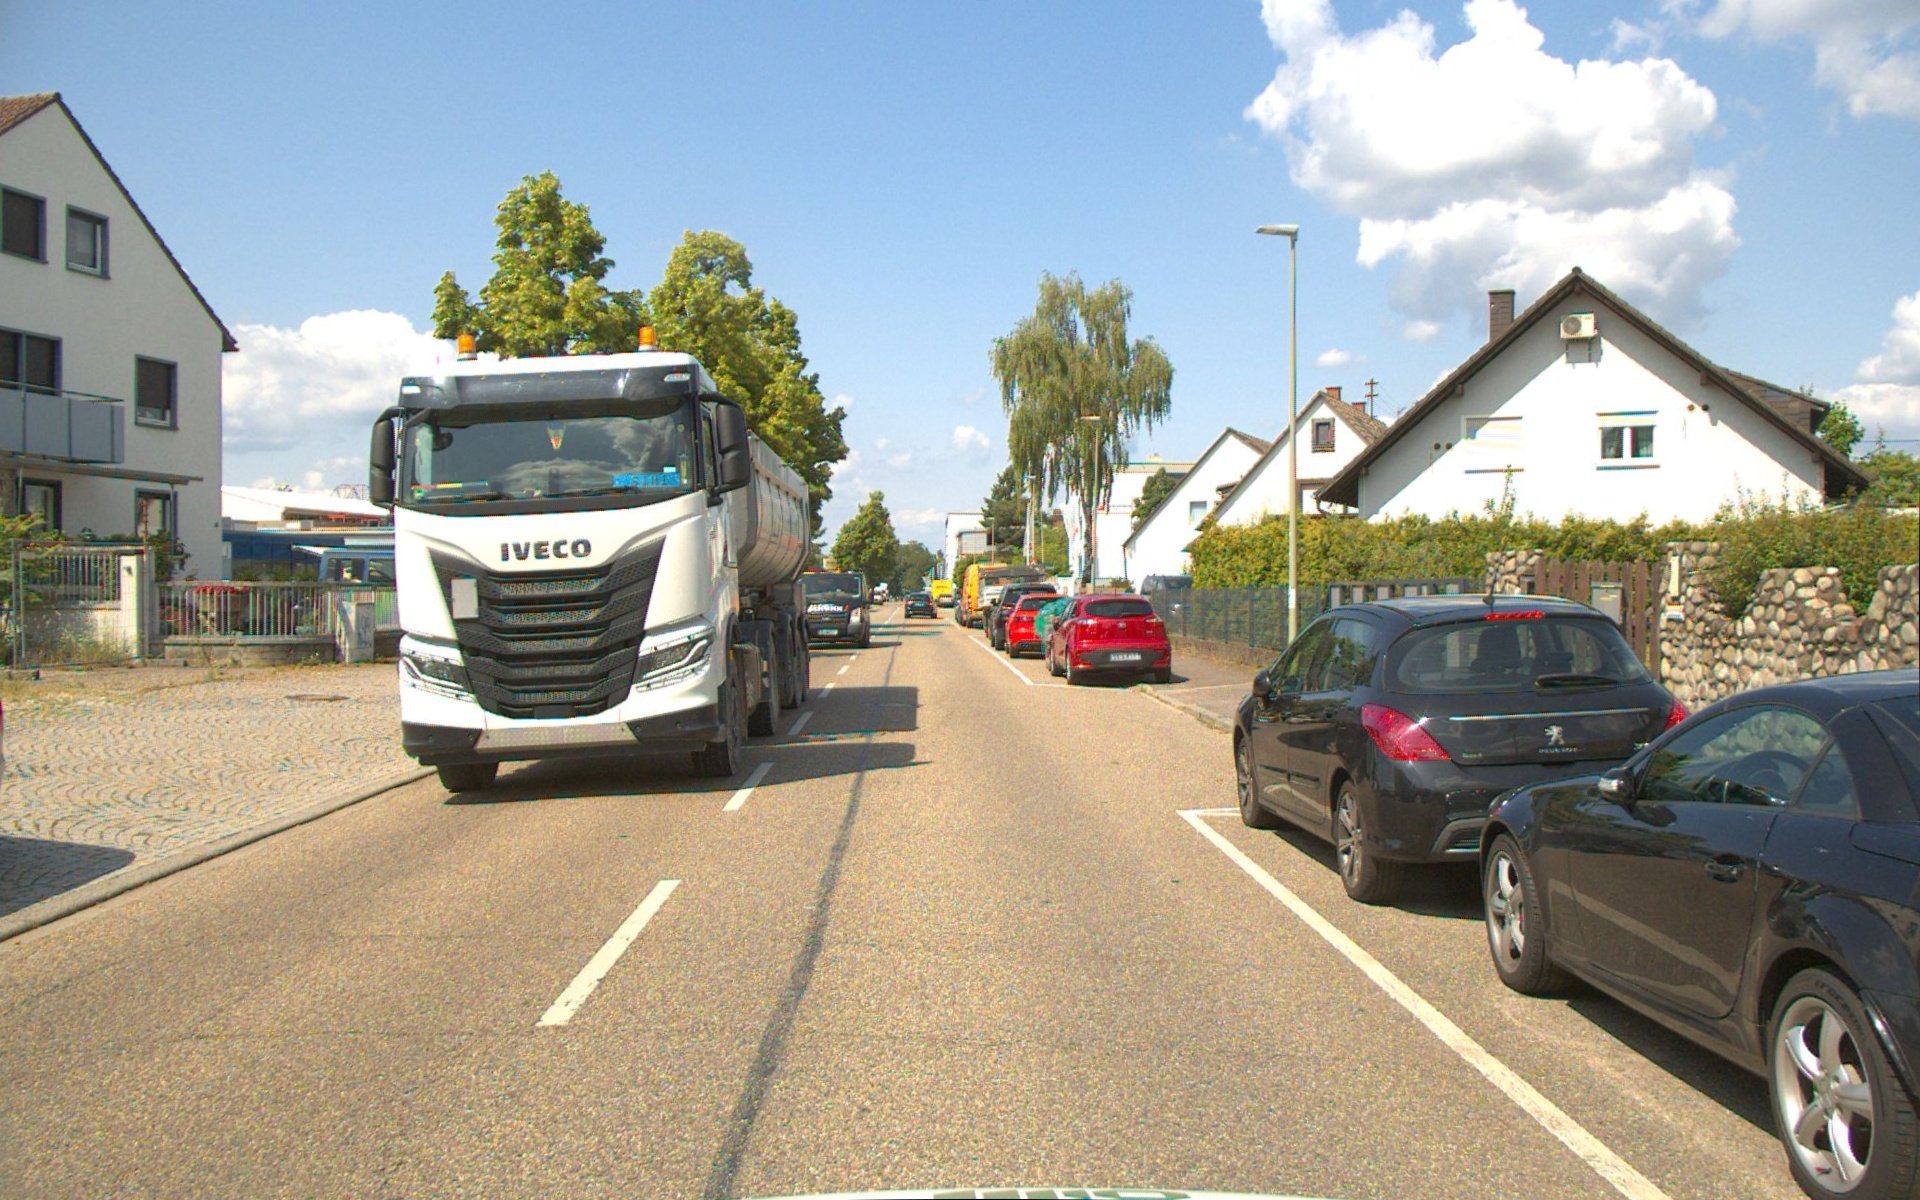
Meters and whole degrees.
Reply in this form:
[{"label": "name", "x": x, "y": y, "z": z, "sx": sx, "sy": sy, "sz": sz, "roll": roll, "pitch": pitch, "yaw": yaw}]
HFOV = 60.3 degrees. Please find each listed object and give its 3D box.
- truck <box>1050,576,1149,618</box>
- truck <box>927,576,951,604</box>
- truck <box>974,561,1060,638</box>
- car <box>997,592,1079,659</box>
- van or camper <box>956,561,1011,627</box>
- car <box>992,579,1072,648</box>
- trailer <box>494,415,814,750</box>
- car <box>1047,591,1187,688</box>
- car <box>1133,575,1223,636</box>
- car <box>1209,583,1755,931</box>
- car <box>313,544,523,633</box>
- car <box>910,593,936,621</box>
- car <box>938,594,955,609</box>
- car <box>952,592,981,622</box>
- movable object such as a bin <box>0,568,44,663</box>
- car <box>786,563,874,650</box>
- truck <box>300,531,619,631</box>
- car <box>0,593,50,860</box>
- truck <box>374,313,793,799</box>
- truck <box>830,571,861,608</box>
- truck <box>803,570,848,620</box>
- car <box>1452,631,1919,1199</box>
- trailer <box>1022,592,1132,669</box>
[{"label": "truck", "x": 9.035, "y": -0.217, "z": 107.082, "sx": 5.970, "sy": 2.622, "sz": 2.543, "roll": 0, "pitch": 1, "yaw": -28}, {"label": "truck", "x": -2.363, "y": -1.109, "z": 186.935, "sx": 2.425, "sy": 2.991, "sz": 7.184, "roll": 1, "pitch": 0, "yaw": -3}, {"label": "truck", "x": 1.770, "y": -0.025, "z": 53.692, "sx": 2.471, "sy": 2.339, "sz": 5.893, "roll": 0, "pitch": 0, "yaw": -1}, {"label": "car", "x": 1.754, "y": 0.543, "z": 38.337, "sx": 1.650, "sy": 1.460, "sz": 4.145, "roll": 0, "pitch": 0, "yaw": -1}, {"label": "van or camper", "x": 0.966, "y": -0.271, "z": 70.799, "sx": 1.954, "sy": 2.710, "sz": 5.765, "roll": 0, "pitch": 0, "yaw": -4}, {"label": "car", "x": 1.810, "y": 0.323, "z": 42.887, "sx": 1.793, "sy": 1.691, "sz": 4.552, "roll": 0, "pitch": 0, "yaw": -1}, {"label": "trailer", "x": -3.258, "y": -0.199, "z": 19.967, "sx": 2.778, "sy": 3.122, "sz": 8.882, "roll": 0, "pitch": 0, "yaw": -4}, {"label": "car", "x": 2.547, "y": 0.600, "z": 27.845, "sx": 1.658, "sy": 1.488, "sz": 4.753, "roll": 0, "pitch": 0, "yaw": -3}, {"label": "car", "x": 7.137, "y": 0.152, "z": 54.694, "sx": 1.821, "sy": 1.898, "sz": 5.014, "roll": 0, "pitch": 0, "yaw": -6}, {"label": "car", "x": 2.746, "y": 0.719, "z": 9.751, "sx": 1.709, "sy": 1.578, "sz": 4.119, "roll": 2, "pitch": 0, "yaw": -3}, {"label": "car", "x": -14.308, "y": -0.283, "z": 43.738, "sx": 4.893, "sy": 2.270, "sz": 2.002, "roll": 0, "pitch": -1, "yaw": 11}, {"label": "car", "x": -2.123, "y": 0.381, "z": 95.254, "sx": 1.398, "sy": 1.545, "sz": 3.017, "roll": 0, "pitch": 0, "yaw": 1}, {"label": "car", "x": -1.443, "y": 0.144, "z": 175.251, "sx": 1.618, "sy": 1.411, "sz": 4.421, "roll": 1, "pitch": 1, "yaw": -2}, {"label": "car", "x": 0.357, "y": 0.385, "z": 94.574, "sx": 1.577, "sy": 1.608, "sz": 4.000, "roll": 1, "pitch": 0, "yaw": 0}, {"label": "movable object such as a bin", "x": -16.231, "y": 0.276, "z": 27.118, "sx": 1.281, "sy": 1.456, "sz": 1.605, "roll": 0, "pitch": 7, "yaw": 15}, {"label": "car", "x": -3.326, "y": 0.148, "z": 43.282, "sx": 2.010, "sy": 2.069, "sz": 5.139, "roll": -2, "pitch": 0, "yaw": -2}, {"label": "truck", "x": -15.426, "y": -0.584, "z": 51.360, "sx": 9.065, "sy": 2.906, "sz": 2.721, "roll": -1, "pitch": 0, "yaw": 2}, {"label": "car", "x": -6.116, "y": 0.730, "z": 7.378, "sx": 1.714, "sy": 1.486, "sz": 4.705, "roll": 3, "pitch": 1, "yaw": -4}, {"label": "truck", "x": -3.060, "y": -0.353, "z": 15.121, "sx": 2.717, "sy": 3.560, "sz": 5.878, "roll": 0, "pitch": 0, "yaw": -3}, {"label": "truck", "x": -9.368, "y": -0.789, "z": 135.941, "sx": 2.223, "sy": 2.904, "sz": 7.170, "roll": 1, "pitch": 0, "yaw": -2}, {"label": "truck", "x": -8.362, "y": -0.316, "z": 103.231, "sx": 2.175, "sy": 2.907, "sz": 7.069, "roll": 2, "pitch": 0, "yaw": 0}, {"label": "car", "x": 3.024, "y": 0.831, "z": 5.358, "sx": 1.675, "sy": 1.341, "sz": 3.963, "roll": 0, "pitch": 1, "yaw": 0}, {"label": "trailer", "x": 2.224, "y": 0.553, "z": 32.435, "sx": 1.576, "sy": 1.402, "sz": 4.429, "roll": 0, "pitch": 0, "yaw": -4}]
